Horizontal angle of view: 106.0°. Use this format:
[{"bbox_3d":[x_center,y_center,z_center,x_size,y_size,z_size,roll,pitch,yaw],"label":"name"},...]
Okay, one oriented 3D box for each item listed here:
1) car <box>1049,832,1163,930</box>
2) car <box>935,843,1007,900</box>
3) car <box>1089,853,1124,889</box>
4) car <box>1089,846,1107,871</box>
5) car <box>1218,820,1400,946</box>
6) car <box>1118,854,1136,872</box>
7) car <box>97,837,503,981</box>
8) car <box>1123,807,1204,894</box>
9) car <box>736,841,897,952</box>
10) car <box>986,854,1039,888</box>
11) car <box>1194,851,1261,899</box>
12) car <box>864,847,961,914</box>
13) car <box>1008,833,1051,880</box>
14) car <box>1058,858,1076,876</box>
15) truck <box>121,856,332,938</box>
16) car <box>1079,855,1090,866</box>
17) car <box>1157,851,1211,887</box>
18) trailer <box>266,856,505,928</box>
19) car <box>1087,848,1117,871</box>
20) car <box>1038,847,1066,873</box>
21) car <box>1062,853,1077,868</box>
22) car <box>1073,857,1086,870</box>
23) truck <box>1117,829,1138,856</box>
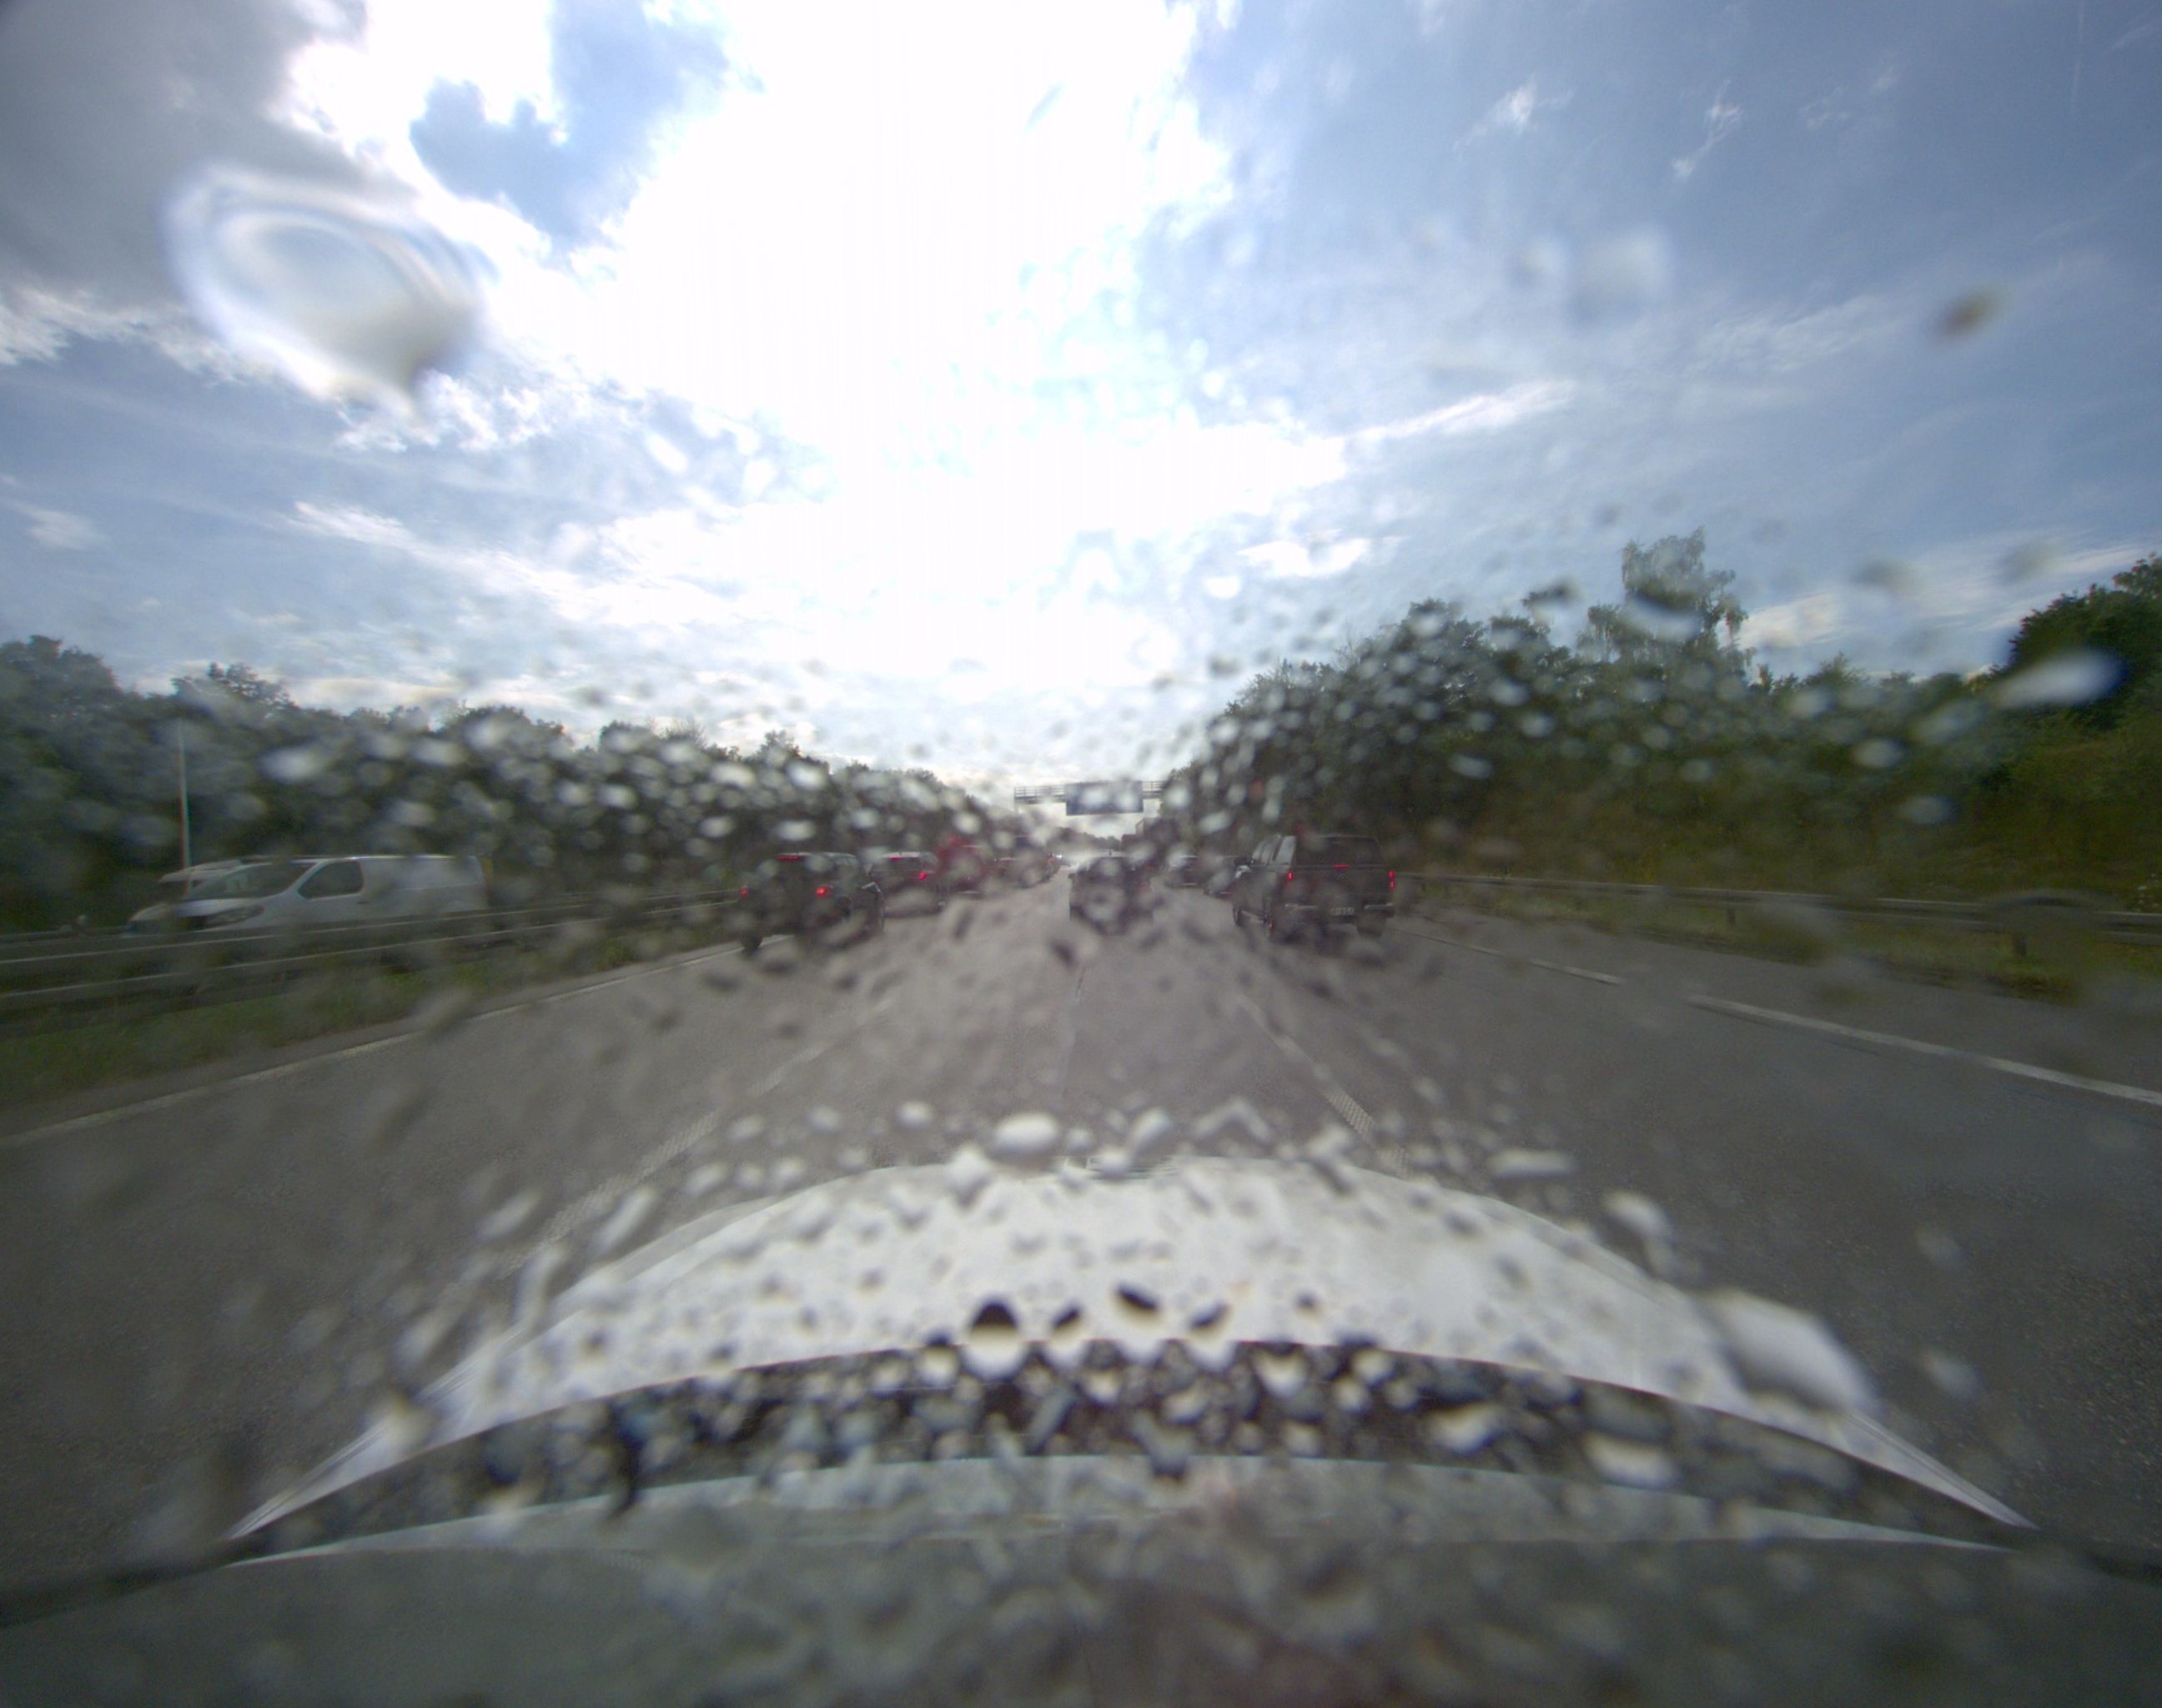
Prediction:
[{"bbox_3d":[0.509,0.569,18.844,2.267,1.954,4.820,-1,-1,0],"label":"car"},{"bbox_3d":[-4.193,0.642,31.864,1.971,2.054,4.758,-1,-1,2],"label":"car"},{"bbox_3d":[1.296,0.859,42.580,1.687,1.805,3.974,-1,-1,-1],"label":"car"},{"bbox_3d":[1.978,0.481,93.113,1.986,2.746,5.261,-1,-1,2],"label":"car"},{"bbox_3d":[4.004,0.471,15.443,1.935,1.919,5.652,-1,-1,1],"label":"car"},{"bbox_3d":[5.592,1.108,99.639,1.986,2.115,4.891,-1,-1,2],"label":"car"},{"bbox_3d":[-13.062,0.813,14.302,2.044,2.046,5.210,-1,-1,1],"label":"car"},{"bbox_3d":[6.048,-0.158,63.792,4.391,5.830,16.811,-1,-1,-1],"label":"car"},{"bbox_3d":[-4.792,0.711,15.338,1.687,1.805,3.976,-1,-1,0],"label":"car"},{"bbox_3d":[-3.293,0.813,39.944,1.986,1.565,4.758,-1,-1,2],"label":"car"},{"bbox_3d":[4.982,0.690,28.187,1.586,1.516,3.974,-1,-1,0],"label":"car"},{"bbox_3d":[-4.703,0.705,23.372,1.904,1.636,4.613,-3,0,-2],"label":"car"},{"bbox_3d":[-2.982,0.156,48.330,1.986,2.615,5.261,-1,-1,2],"label":"car"},{"bbox_3d":[-1.744,1.560,101.160,1.986,2.115,4.891,-1,-1,2],"label":"car"},{"bbox_3d":[-46.821,2.214,44.993,3.760,4.117,7.073,-1,-1,15],"label":"truck"},{"bbox_3d":[0.771,1.375,167.102,1.986,2.115,4.891,-1,-1,2],"label":"car"},{"bbox_3d":[4.569,0.637,36.546,1.859,1.516,3.974,-1,-1,-1],"label":"car"},{"bbox_3d":[-44.649,2.258,53.176,3.760,4.117,11.771,-1,-1,15],"label":"trailer"},{"bbox_3d":[1.375,0.385,55.160,1.859,1.516,3.974,-1,-1,-1],"label":"car"},{"bbox_3d":[-2.353,0.520,68.323,1.986,2.115,4.891,-1,-1,2],"label":"car"},{"bbox_3d":[-1.629,0.880,116.579,1.986,2.115,4.891,-1,-1,2],"label":"car"},{"bbox_3d":[-0.229,1.621,141.434,1.986,2.115,4.891,-1,-1,2],"label":"car"},{"bbox_3d":[6.348,-1.569,112.789,2.765,3.631,5.919,-1,-1,2],"label":"truck"}]
